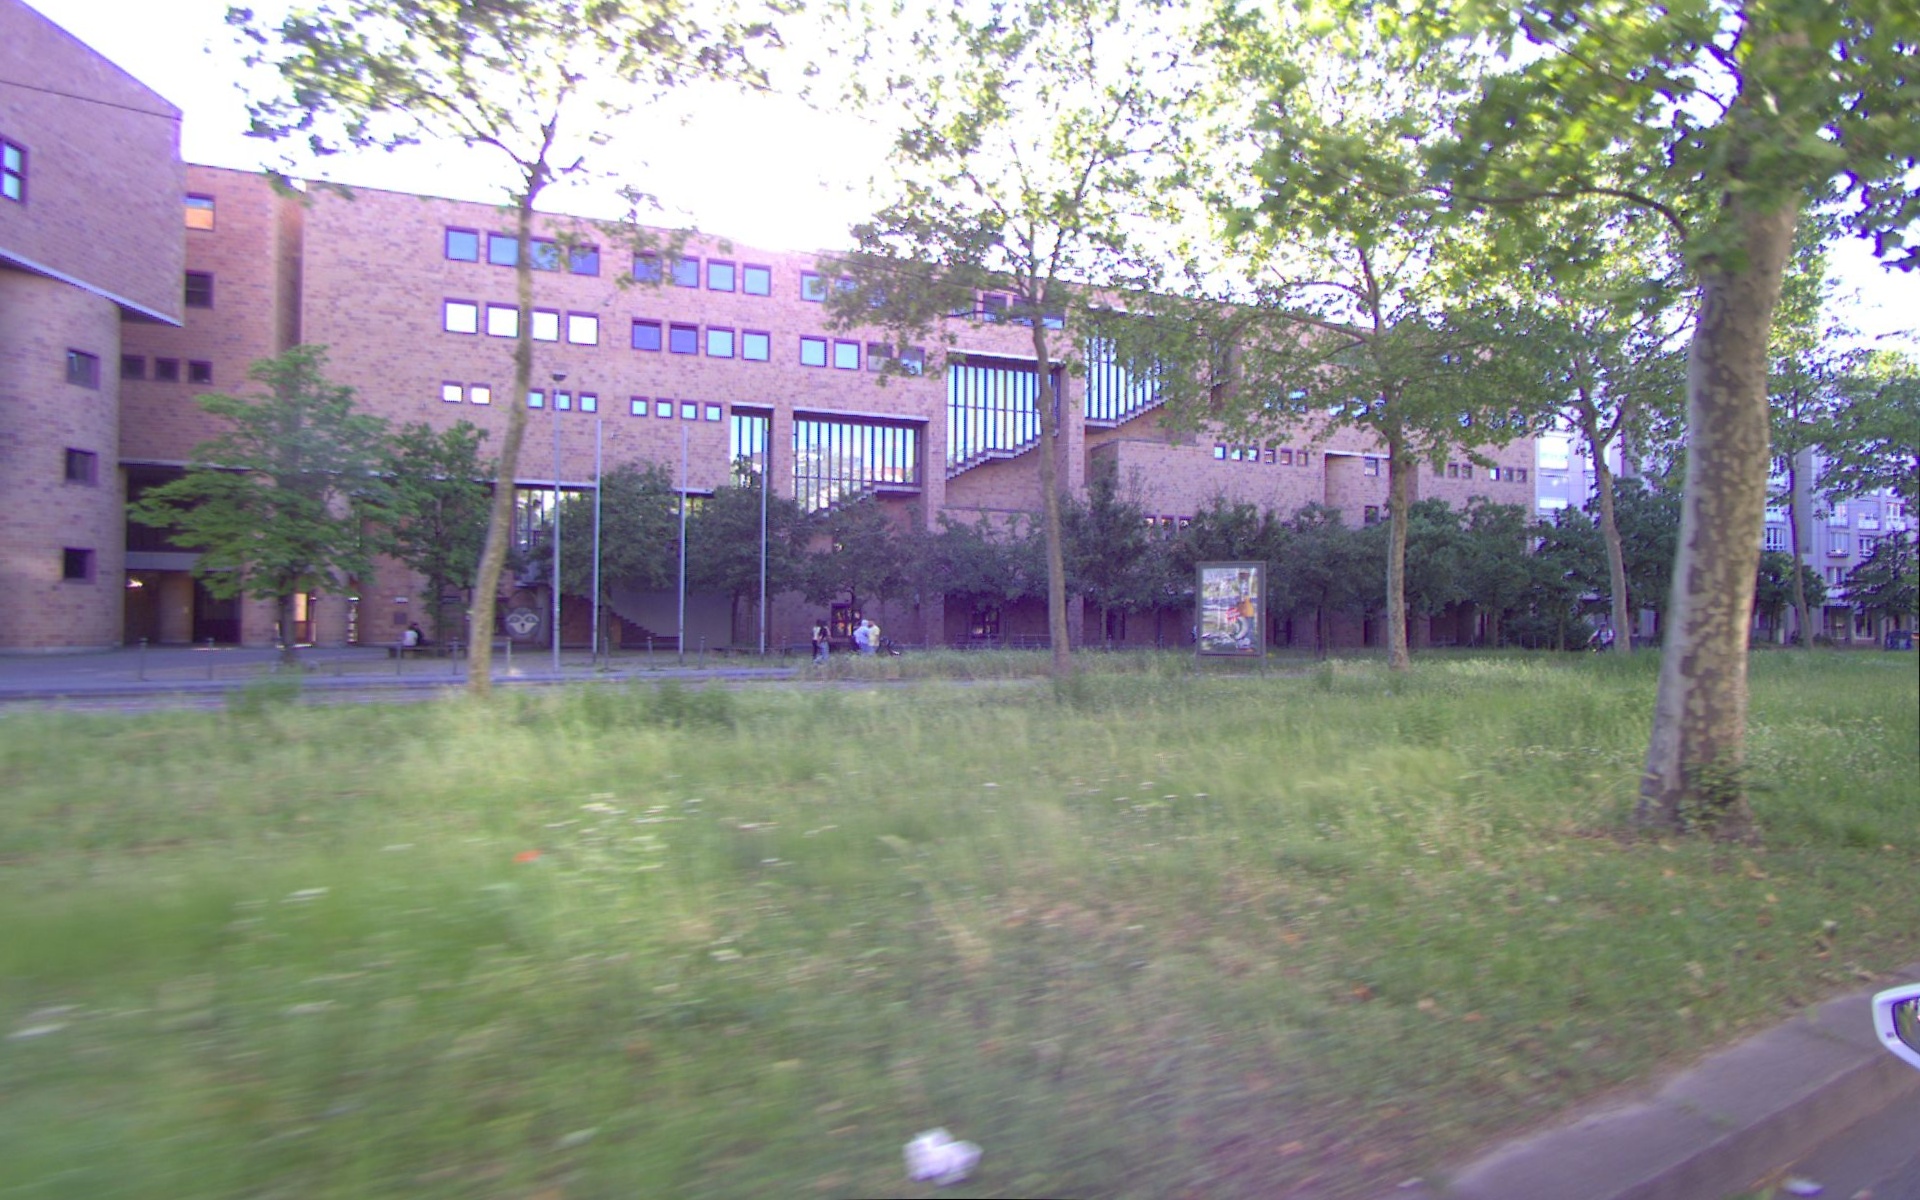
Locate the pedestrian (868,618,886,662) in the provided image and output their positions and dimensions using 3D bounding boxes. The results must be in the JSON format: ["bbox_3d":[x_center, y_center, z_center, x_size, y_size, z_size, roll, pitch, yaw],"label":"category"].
[{"bbox_3d":[-2.935,1.408,35.381,0.458,1.525,0.480,1,-1,-33],"label":"pedestrian"}]

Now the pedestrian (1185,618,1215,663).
[{"bbox_3d":[9.926,1.663,41.571,0.890,1.855,0.820,1,-1,-28],"label":"pedestrian"}]

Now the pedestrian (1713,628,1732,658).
[{"bbox_3d":[45.248,2.561,59.610,0.639,1.763,0.726,1,-1,-26],"label":"pedestrian"}]

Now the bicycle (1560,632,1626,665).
[{"bbox_3d":[22.475,1.735,35.648,2.407,1.141,0.952,2,-2,-29],"label":"bicycle"}]

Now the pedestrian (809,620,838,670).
[{"bbox_3d":[-4.547,1.487,33.467,0.747,1.638,0.661,1,-1,-29],"label":"pedestrian"}]

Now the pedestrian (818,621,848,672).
[{"bbox_3d":[-4.140,1.496,32.760,0.748,1.638,0.661,1,-1,-30],"label":"pedestrian"}]

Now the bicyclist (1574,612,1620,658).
[{"bbox_3d":[22.731,1.234,35.824,1.195,1.592,0.937,1,-1,-29],"label":"bicyclist"}]

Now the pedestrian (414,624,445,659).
[{"bbox_3d":[-19.198,1.503,36.346,0.741,1.267,0.666,0,-1,3],"label":"pedestrian"}]

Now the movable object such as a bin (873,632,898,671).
[{"bbox_3d":[-2.523,1.726,33.922,0.747,1.296,0.354,1,-1,-30],"label":"movable object such as a bin"}]

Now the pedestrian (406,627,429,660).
[{"bbox_3d":[-19.963,1.592,36.986,0.625,1.214,0.658,1,-1,-39],"label":"pedestrian"}]

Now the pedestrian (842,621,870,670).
[{"bbox_3d":[-3.533,1.538,34.171,0.748,1.638,0.661,1,-1,-30],"label":"pedestrian"}]

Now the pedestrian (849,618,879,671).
[{"bbox_3d":[-3.195,1.490,33.562,0.787,1.745,0.661,1,-1,-30],"label":"pedestrian"}]

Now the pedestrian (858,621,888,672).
[{"bbox_3d":[-2.834,1.494,32.787,0.750,1.638,0.658,1,-1,-39],"label":"pedestrian"}]
